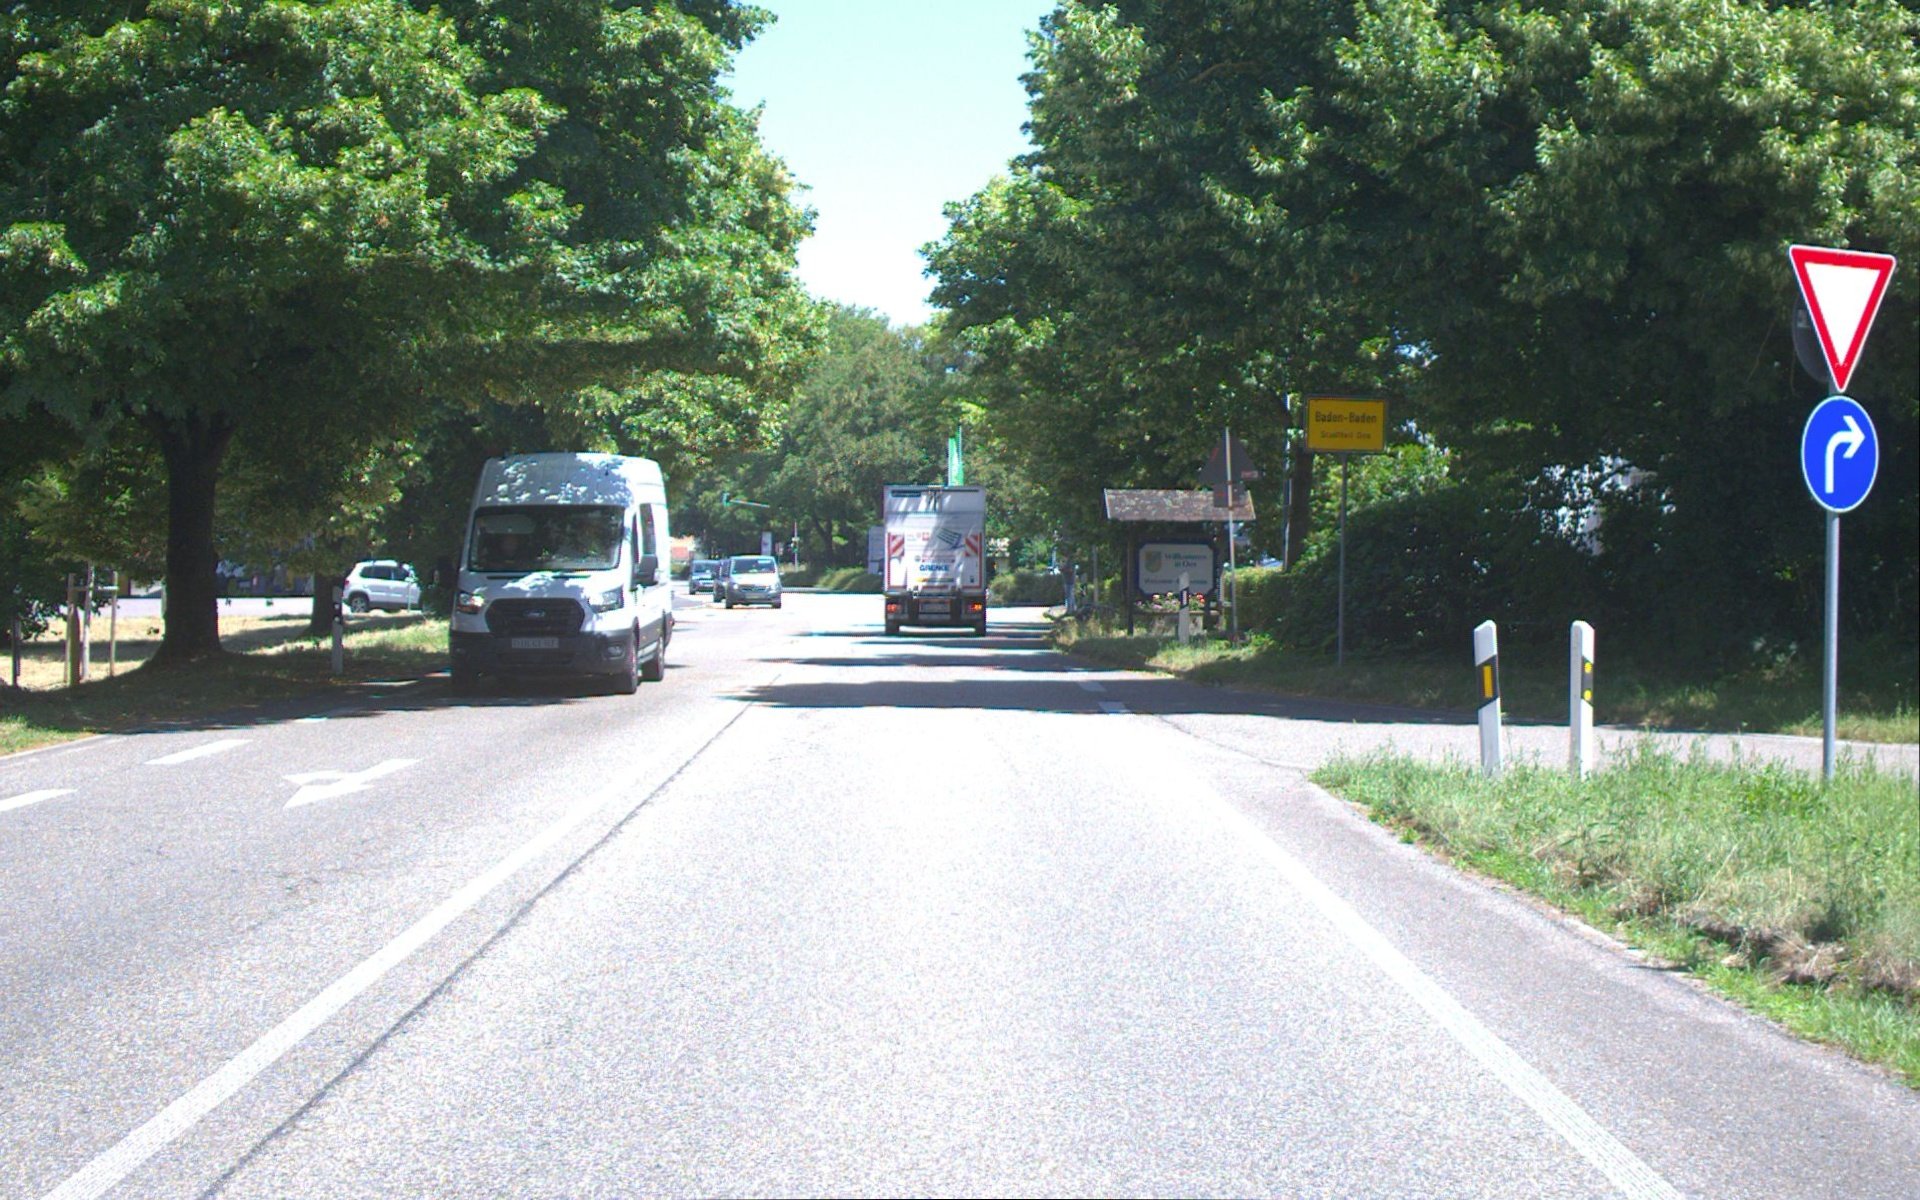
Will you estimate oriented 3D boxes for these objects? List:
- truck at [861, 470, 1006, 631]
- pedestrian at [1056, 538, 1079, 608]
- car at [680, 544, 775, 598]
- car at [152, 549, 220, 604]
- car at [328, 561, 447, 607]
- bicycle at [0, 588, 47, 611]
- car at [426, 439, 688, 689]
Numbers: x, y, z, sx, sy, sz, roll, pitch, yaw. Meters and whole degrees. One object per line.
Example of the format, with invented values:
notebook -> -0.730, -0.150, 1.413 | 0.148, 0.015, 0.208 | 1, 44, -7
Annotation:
truck -> -0.475, -1.034, 69.504 | 2.534, 3.124, 5.360 | 0, 1, 4
pedestrian -> 2.731, -0.685, 87.418 | 0.548, 1.770, 0.577 | 0, 0, 4
car -> -8.167, -1.017, 120.215 | 1.993, 1.850, 5.317 | -1, 1, -19
car -> -22.688, -0.692, 100.704 | 1.735, 1.579, 4.001 | 0, 1, -15
car -> -17.296, -0.489, 103.867 | 3.428, 1.357, 1.333 | 0, 1, 28
bicycle -> -27.344, -0.009, 99.594 | 1.671, 0.644, 0.425 | 0, 0, -5
car -> -4.508, -0.411, 39.561 | 2.073, 2.618, 6.784 | 0, 1, 1
